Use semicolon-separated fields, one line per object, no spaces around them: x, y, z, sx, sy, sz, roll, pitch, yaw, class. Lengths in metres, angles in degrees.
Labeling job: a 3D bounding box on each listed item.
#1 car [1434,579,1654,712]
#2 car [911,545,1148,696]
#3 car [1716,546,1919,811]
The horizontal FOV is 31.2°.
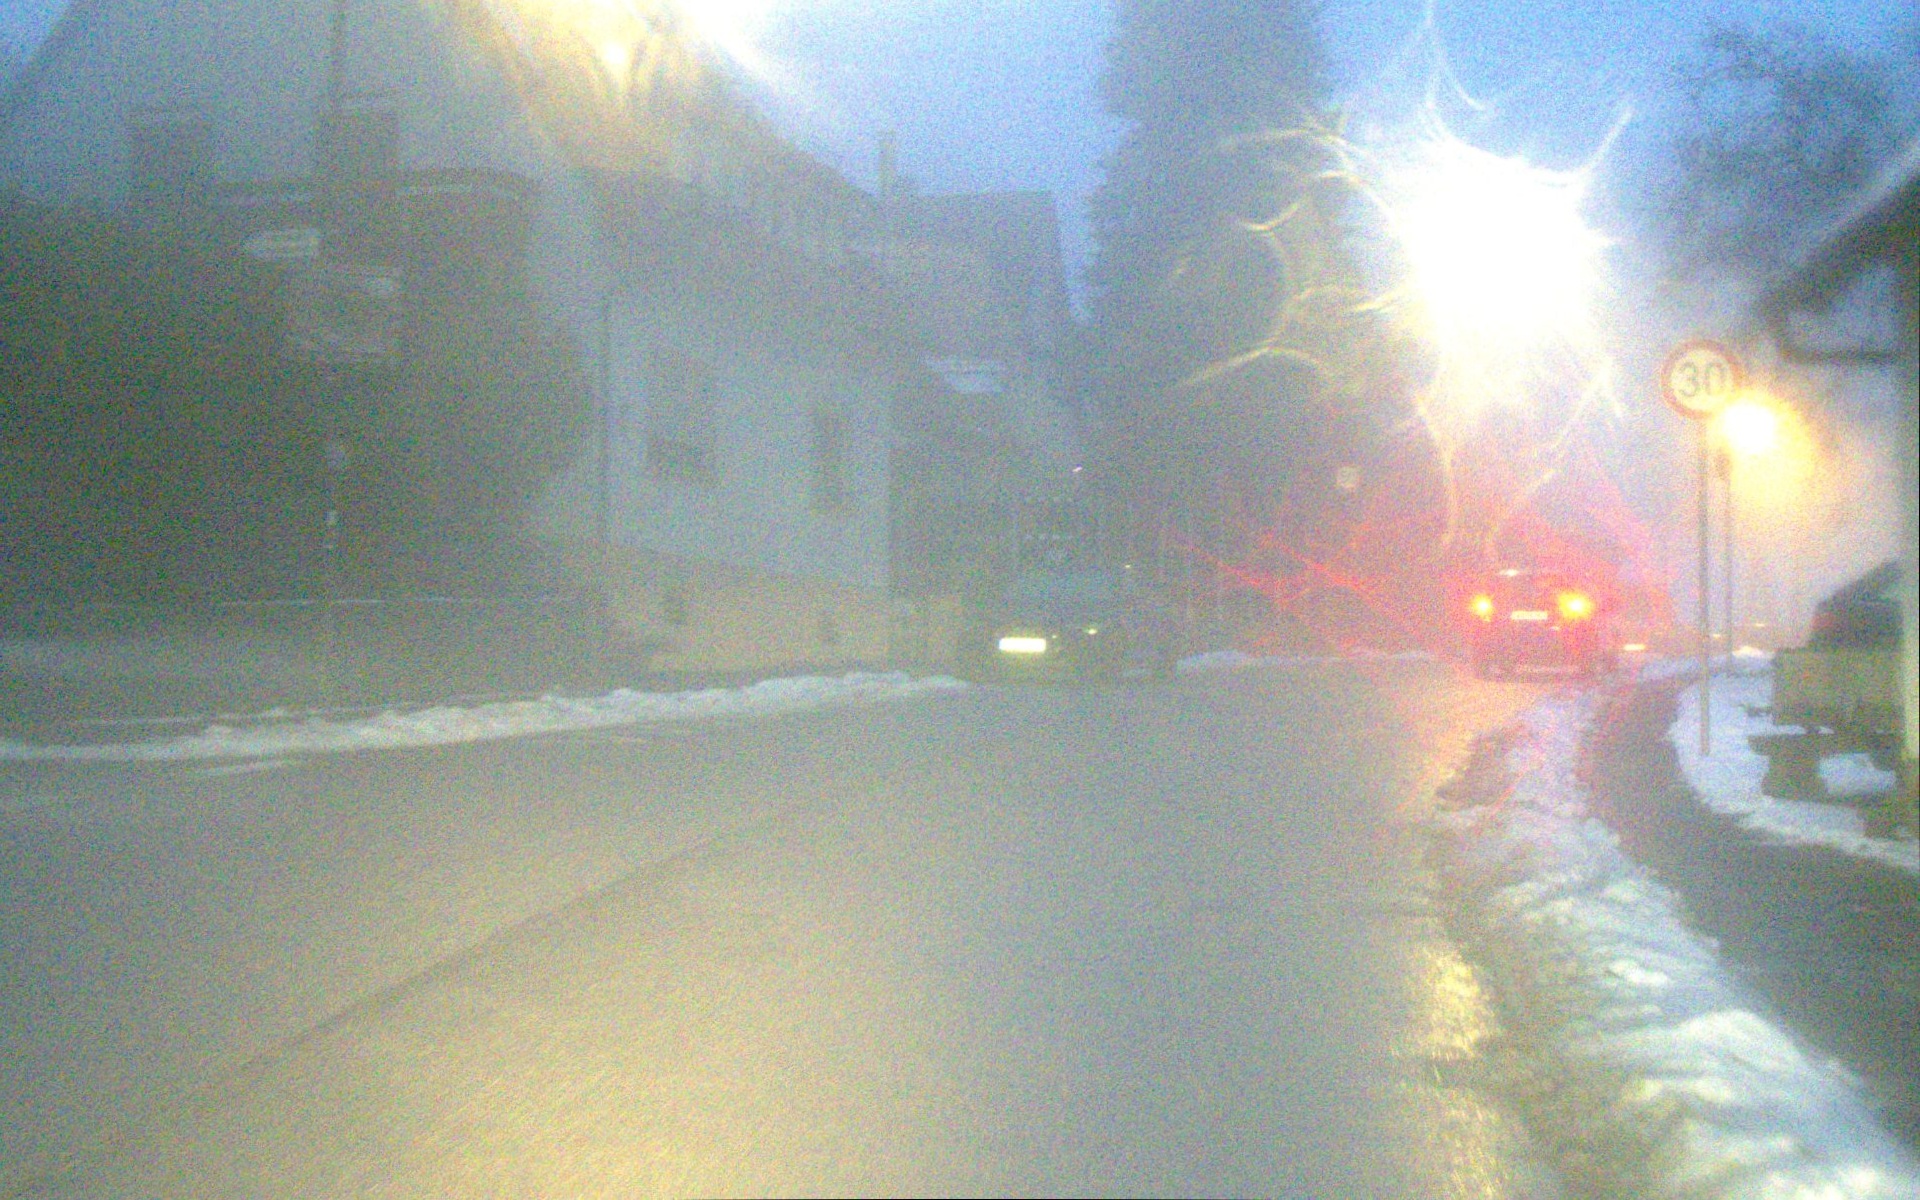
8.334;0.642;48.831;1.996;1.731;3.873;-3;-2;26;car
0.890;0.272;41.265;1.995;1.645;3.997;-3;-2;13;car
6.107;0.380;19.206;3.439;1.382;1.639;-3;-2;5;car
